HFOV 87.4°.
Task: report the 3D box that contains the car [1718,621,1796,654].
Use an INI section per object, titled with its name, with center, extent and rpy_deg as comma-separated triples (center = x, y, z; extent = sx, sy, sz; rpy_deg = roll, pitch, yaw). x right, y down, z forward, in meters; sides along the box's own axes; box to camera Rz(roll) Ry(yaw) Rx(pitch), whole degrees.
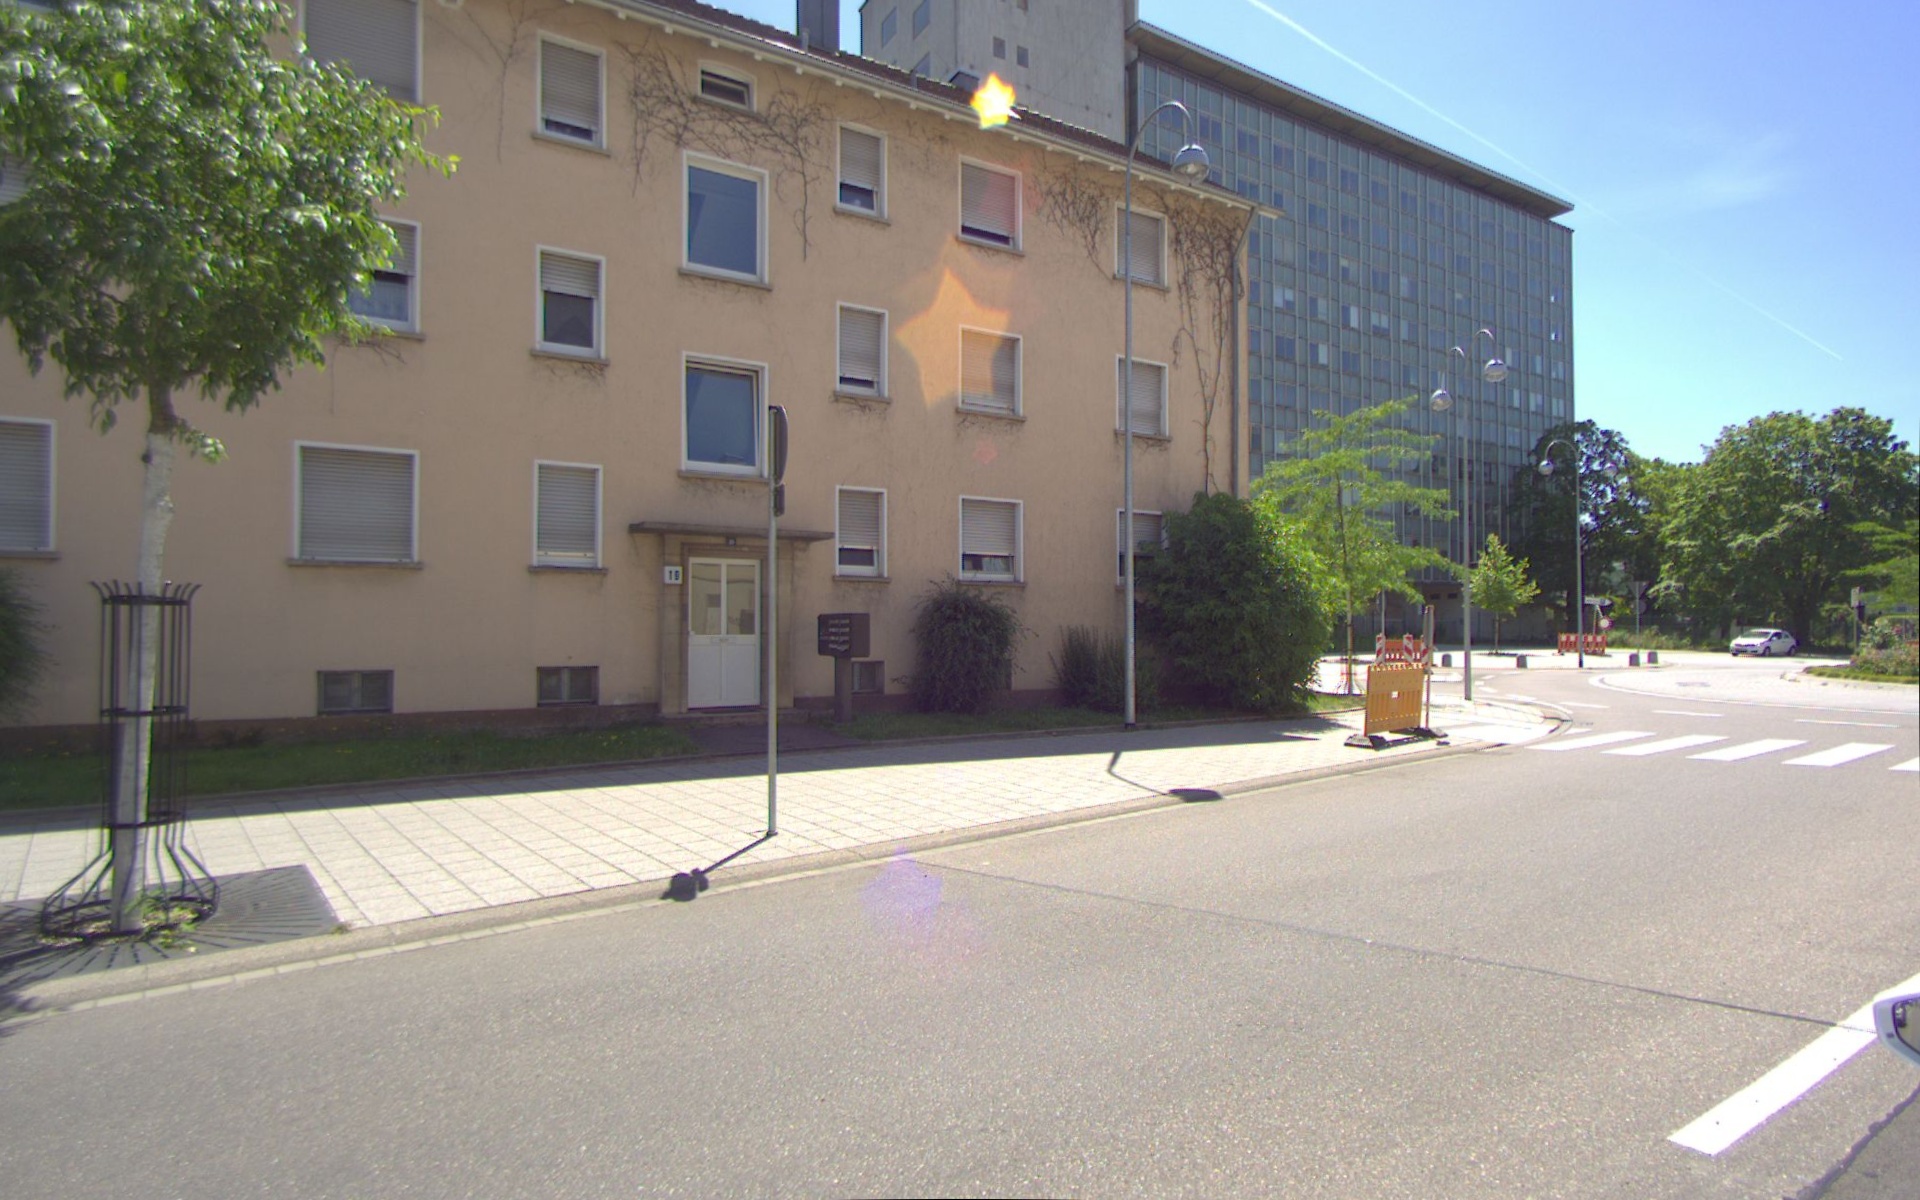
[car]
center = 44.368, 2.077, 55.929
extent = 3.866, 1.618, 1.781
rpy_deg = 4, -2, -23
